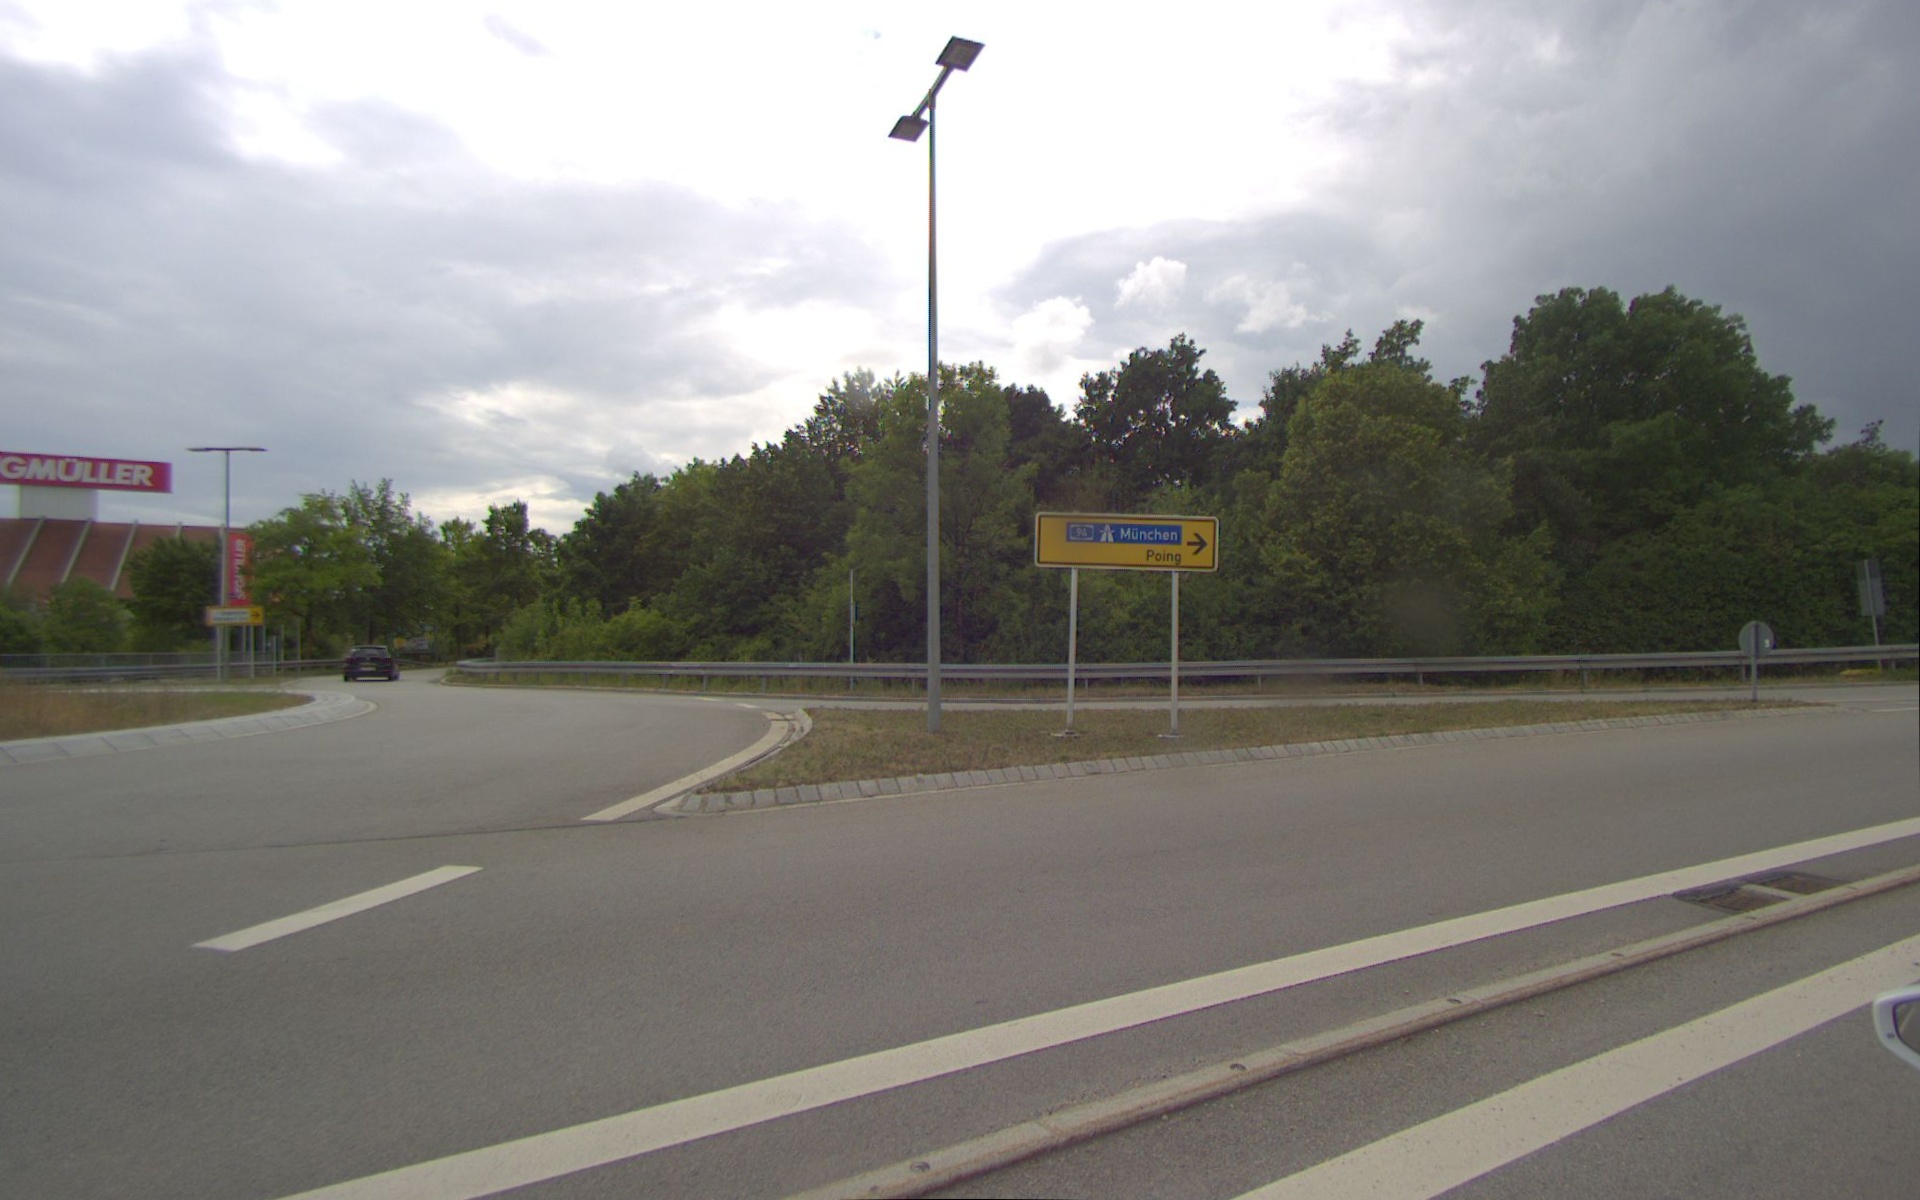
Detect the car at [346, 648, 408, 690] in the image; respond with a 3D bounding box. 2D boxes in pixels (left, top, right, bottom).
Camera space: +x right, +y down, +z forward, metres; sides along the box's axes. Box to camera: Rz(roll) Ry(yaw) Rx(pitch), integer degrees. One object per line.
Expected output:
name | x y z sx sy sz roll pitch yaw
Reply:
car | -23.256 2.737 40.151 1.540 1.529 3.298 0 -2 -20
